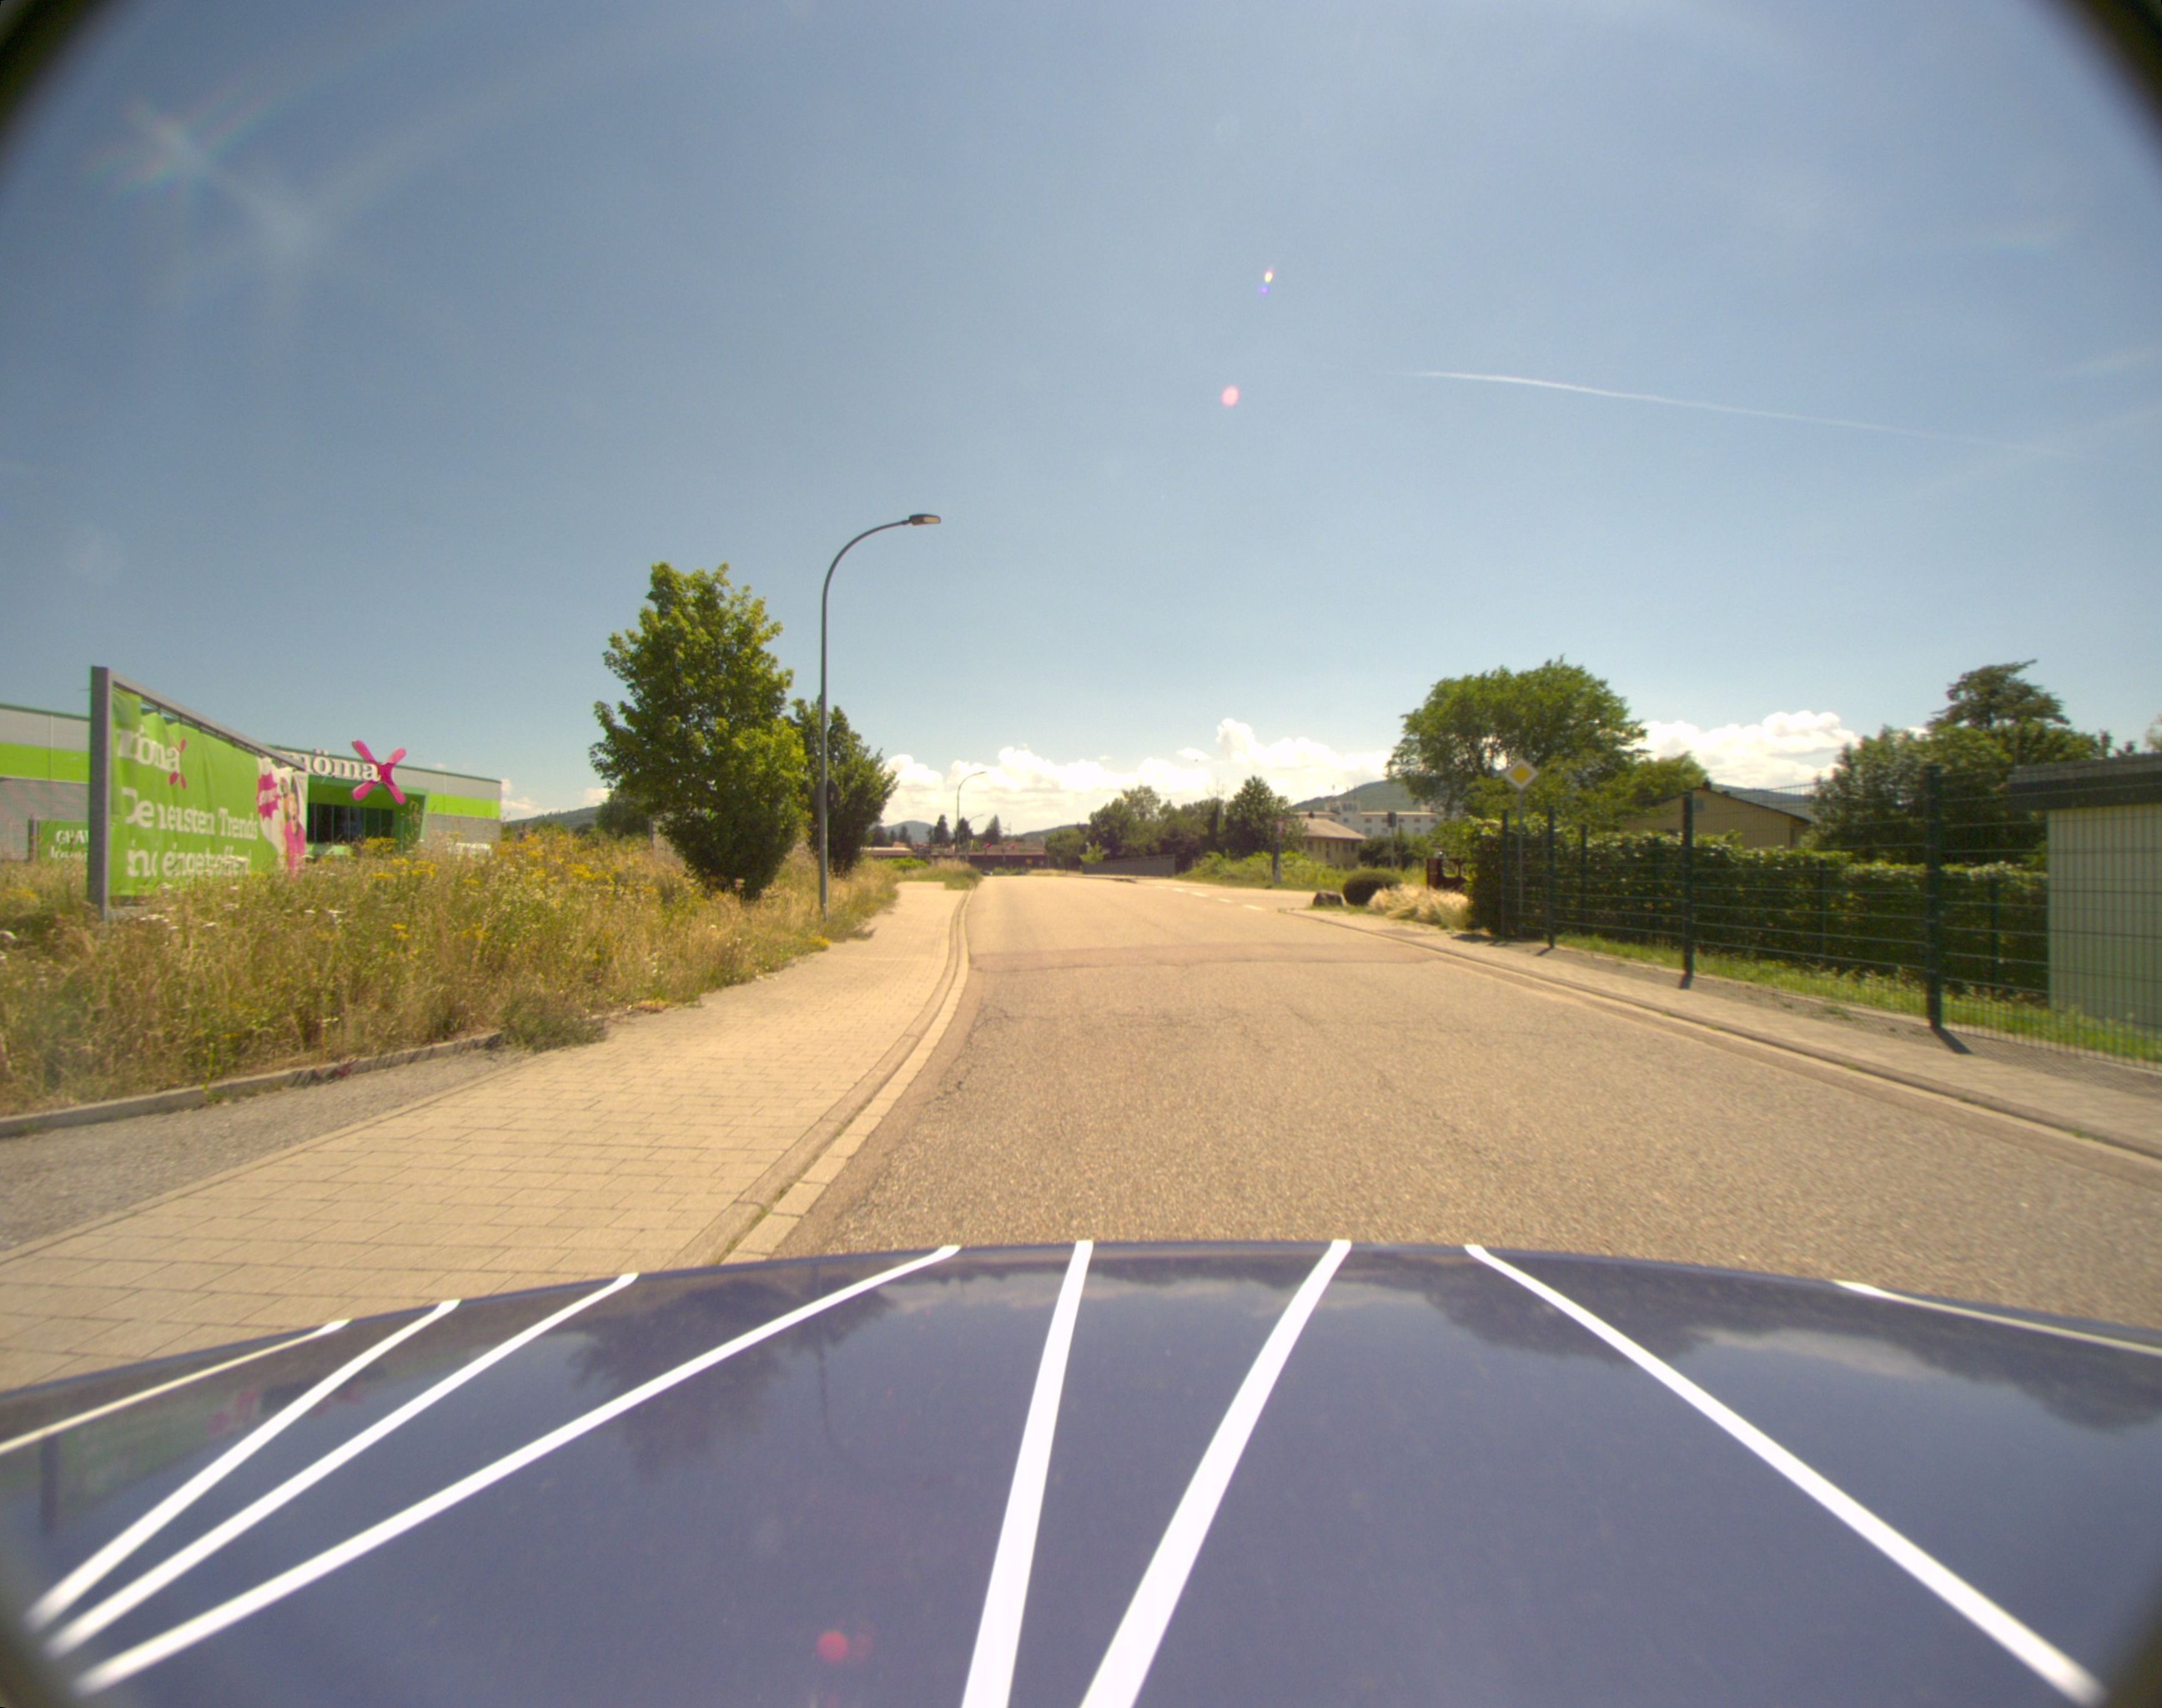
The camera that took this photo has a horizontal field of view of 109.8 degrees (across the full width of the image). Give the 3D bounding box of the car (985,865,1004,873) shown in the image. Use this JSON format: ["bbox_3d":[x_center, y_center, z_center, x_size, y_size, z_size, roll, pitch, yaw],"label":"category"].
[{"bbox_3d":[-18.650,3.286,163.486,3.742,1.531,1.848,2,2,-1],"label":"car"}]
